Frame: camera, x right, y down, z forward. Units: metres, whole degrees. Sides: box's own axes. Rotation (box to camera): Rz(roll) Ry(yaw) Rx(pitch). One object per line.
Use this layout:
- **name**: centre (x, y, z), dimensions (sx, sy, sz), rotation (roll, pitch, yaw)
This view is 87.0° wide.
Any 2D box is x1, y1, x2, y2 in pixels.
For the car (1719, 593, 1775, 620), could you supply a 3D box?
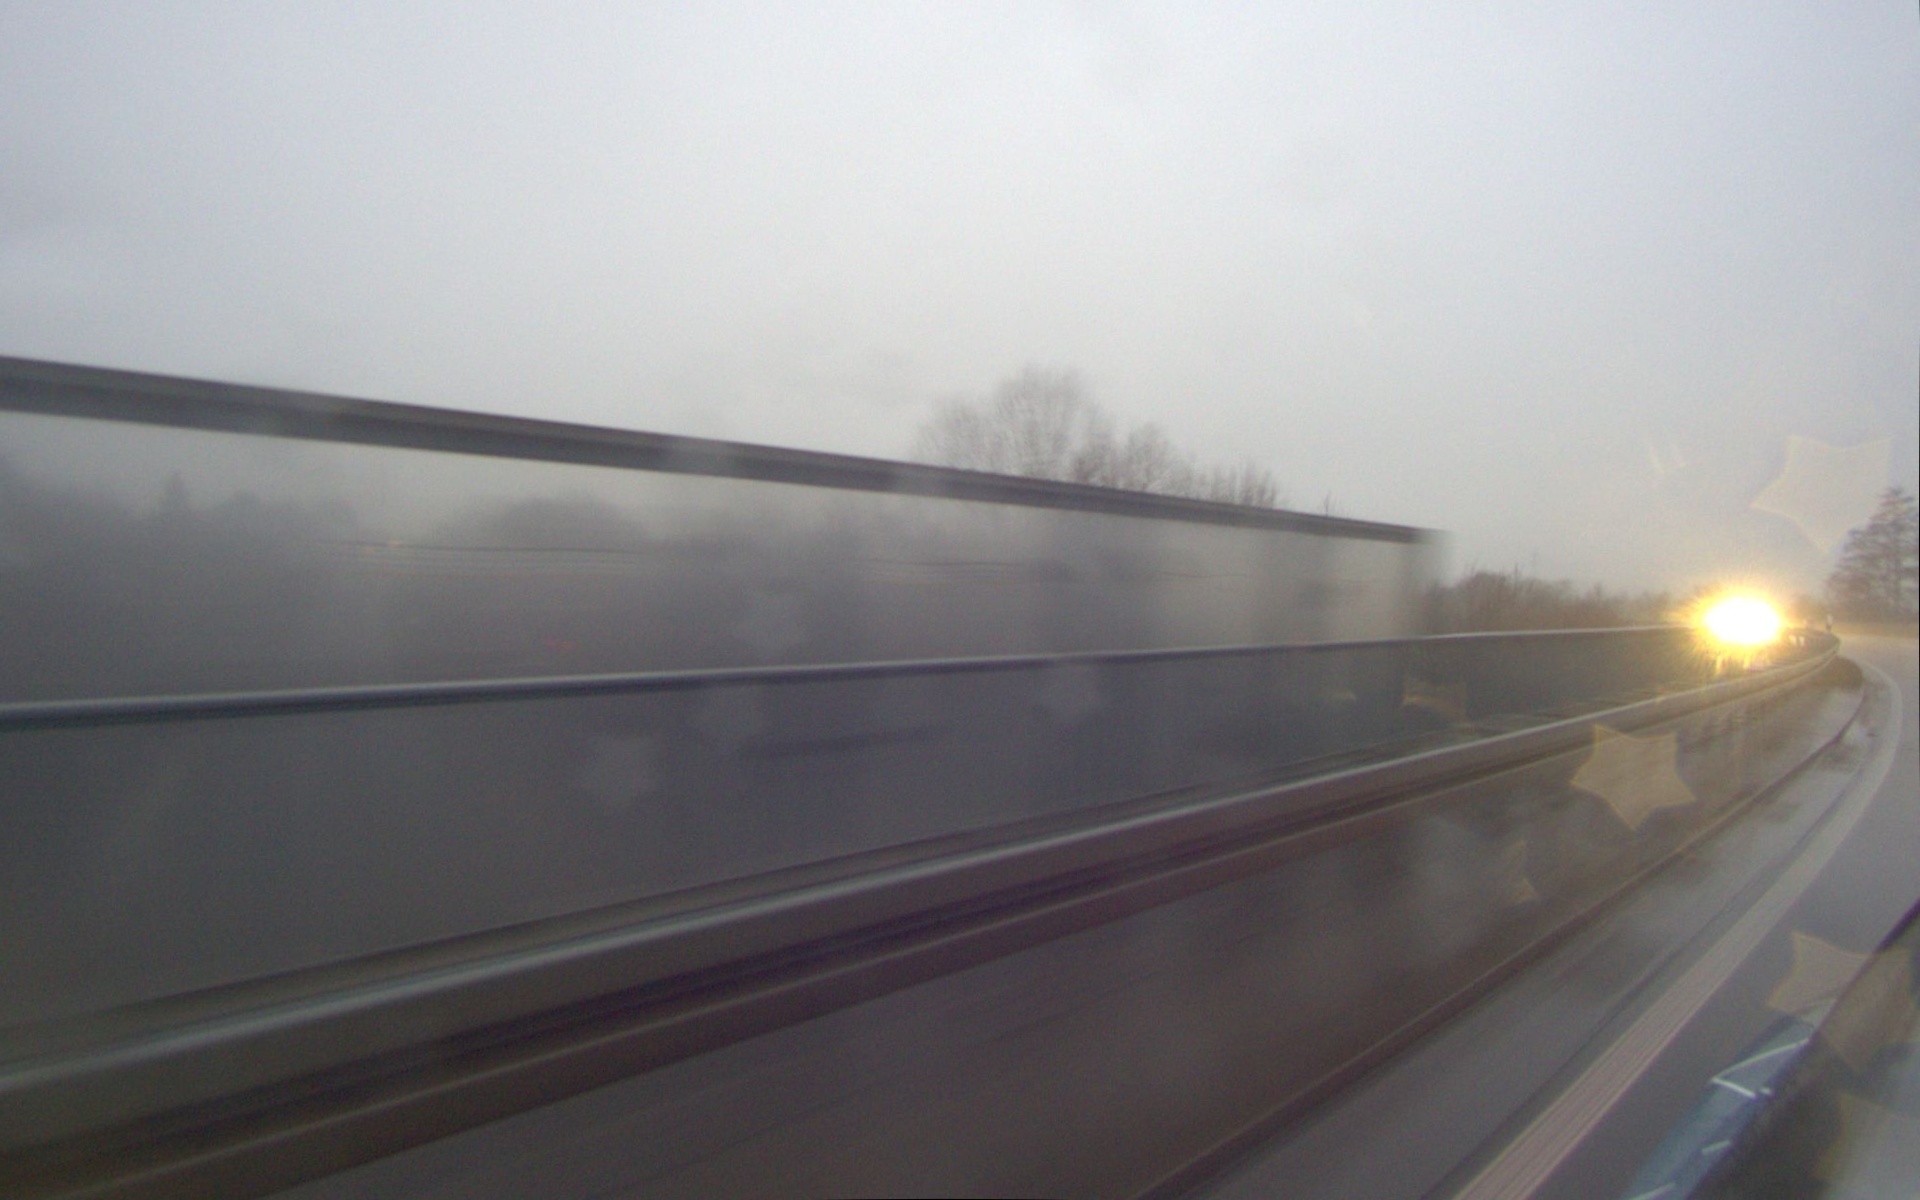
- **car**: centre (53.322, 0.417, 68.670), dimensions (2.085, 1.594, 4.753), rotation (3, 2, 28)
